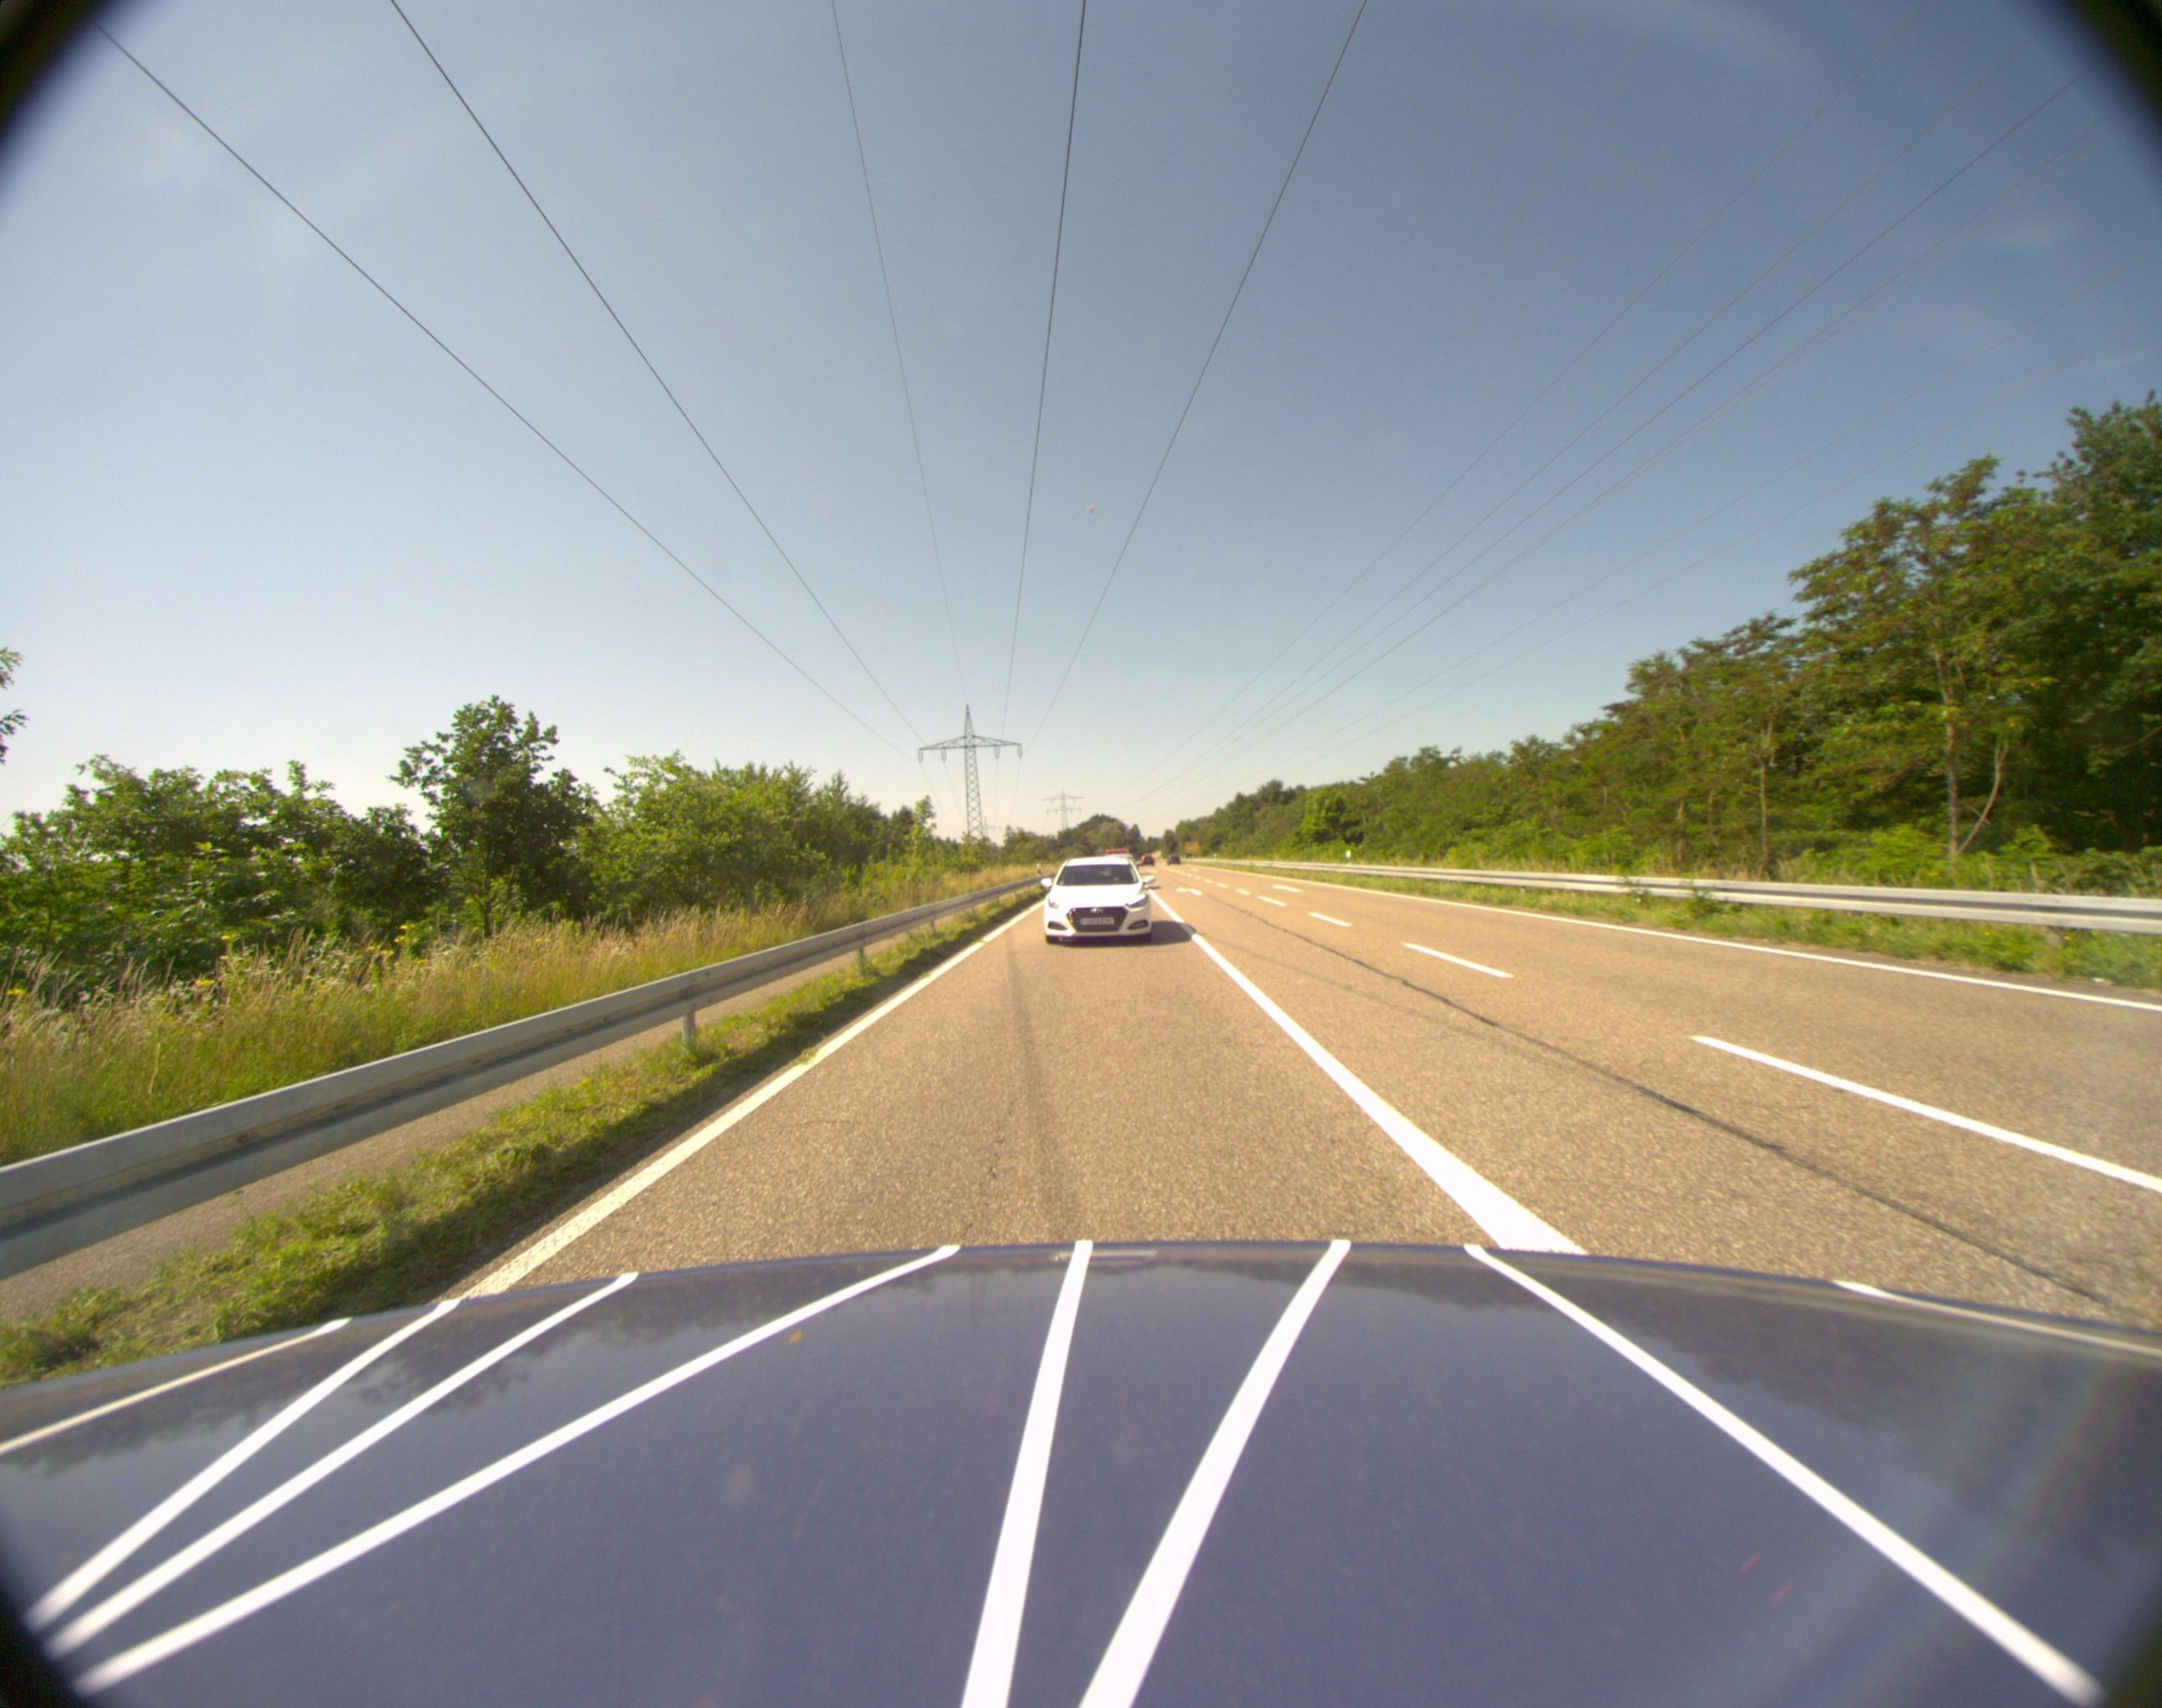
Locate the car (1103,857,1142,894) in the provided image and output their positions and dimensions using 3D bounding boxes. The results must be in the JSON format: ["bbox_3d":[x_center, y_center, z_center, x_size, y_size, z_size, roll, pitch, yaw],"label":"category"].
[{"bbox_3d":[1.774,0.887,33.323,1.549,1.460,3.661,-2,0,2],"label":"car"}]

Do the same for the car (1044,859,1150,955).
[{"bbox_3d":[0.359,0.872,14.408,1.683,1.471,4.474,-1,0,3],"label":"car"}]

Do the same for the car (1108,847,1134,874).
[{"bbox_3d":[3.039,0.463,58.484,1.794,1.892,4.838,-2,0,2],"label":"car"}]

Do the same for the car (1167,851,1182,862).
[{"bbox_3d":[13.108,0.344,106.913,1.663,1.433,4.215,-2,0,3],"label":"car"}]

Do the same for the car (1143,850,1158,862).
[{"bbox_3d":[9.449,0.289,103.926,1.731,1.482,4.423,-2,0,2],"label":"car"}]
